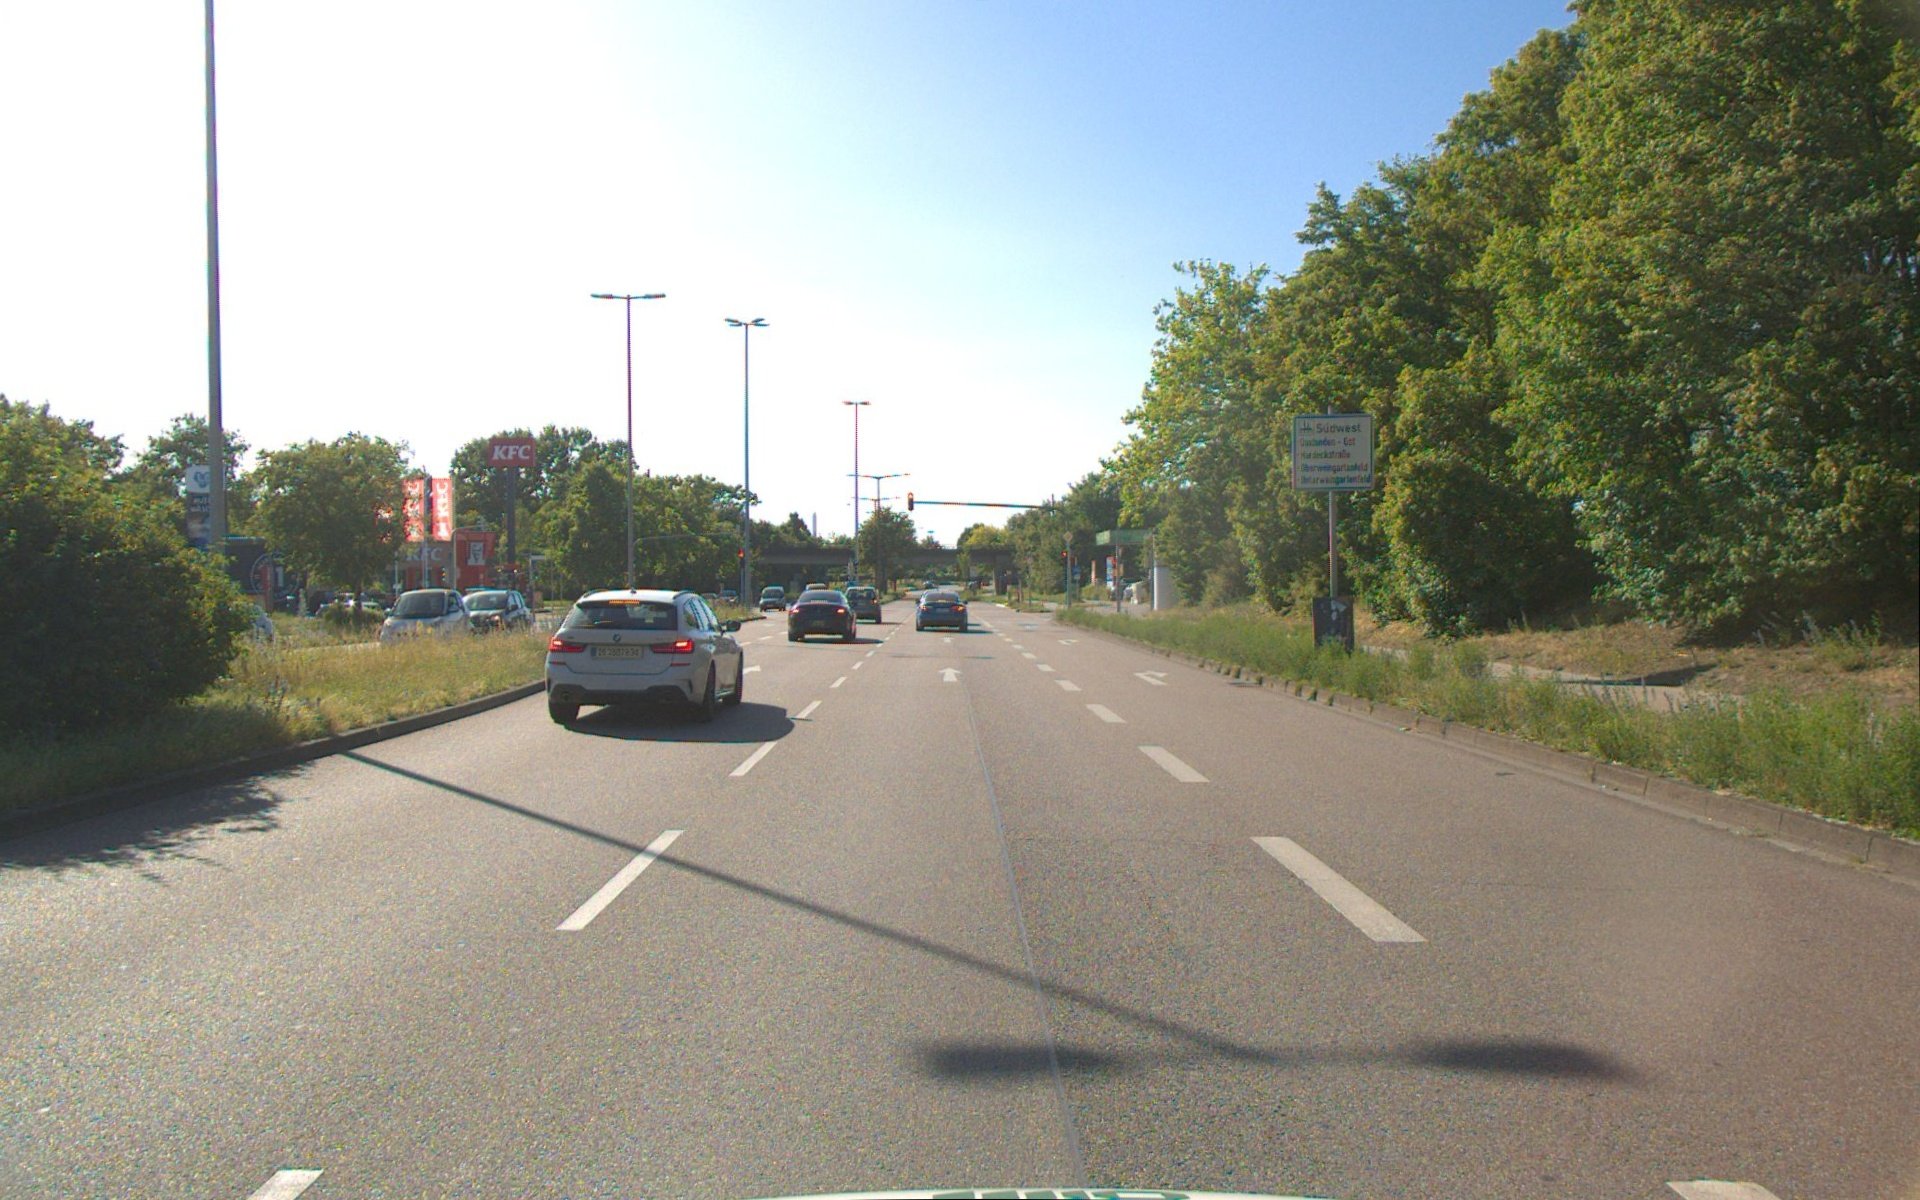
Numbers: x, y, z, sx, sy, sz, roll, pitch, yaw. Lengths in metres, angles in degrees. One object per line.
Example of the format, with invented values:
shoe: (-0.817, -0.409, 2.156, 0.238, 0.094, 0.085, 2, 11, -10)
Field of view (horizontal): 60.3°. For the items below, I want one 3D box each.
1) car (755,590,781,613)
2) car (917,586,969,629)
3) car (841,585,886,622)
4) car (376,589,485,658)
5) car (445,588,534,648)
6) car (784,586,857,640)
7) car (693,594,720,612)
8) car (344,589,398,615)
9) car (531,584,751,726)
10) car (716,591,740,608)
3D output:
car: (-14.087, 0.080, 121.568, 1.504, 1.608, 3.671, -1, 0, -1)
car: (-0.635, 0.267, 61.145, 1.824, 1.525, 4.336, 0, 0, -1)
car: (-4.256, 0.121, 73.424, 1.824, 1.592, 4.547, 0, 0, -1)
car: (-12.341, 0.512, 38.740, 1.463, 1.535, 3.486, 0, 0, -1)
car: (-13.324, 0.478, 46.984, 1.504, 1.651, 3.671, 0, 0, -1)
car: (-4.051, 0.348, 48.568, 1.824, 1.480, 4.547, 0, 0, -1)
car: (-20.561, 0.244, 134.488, 1.669, 1.426, 3.722, 0, 0, -1)
car: (-43.095, 0.139, 120.997, 4.011, 1.814, 1.917, 0, 0, 40)
car: (-3.659, 0.560, 19.751, 1.824, 1.480, 4.546, 0, 1, -1)
car: (-20.771, -0.043, 148.120, 1.669, 1.426, 3.722, 0, 0, -1)
